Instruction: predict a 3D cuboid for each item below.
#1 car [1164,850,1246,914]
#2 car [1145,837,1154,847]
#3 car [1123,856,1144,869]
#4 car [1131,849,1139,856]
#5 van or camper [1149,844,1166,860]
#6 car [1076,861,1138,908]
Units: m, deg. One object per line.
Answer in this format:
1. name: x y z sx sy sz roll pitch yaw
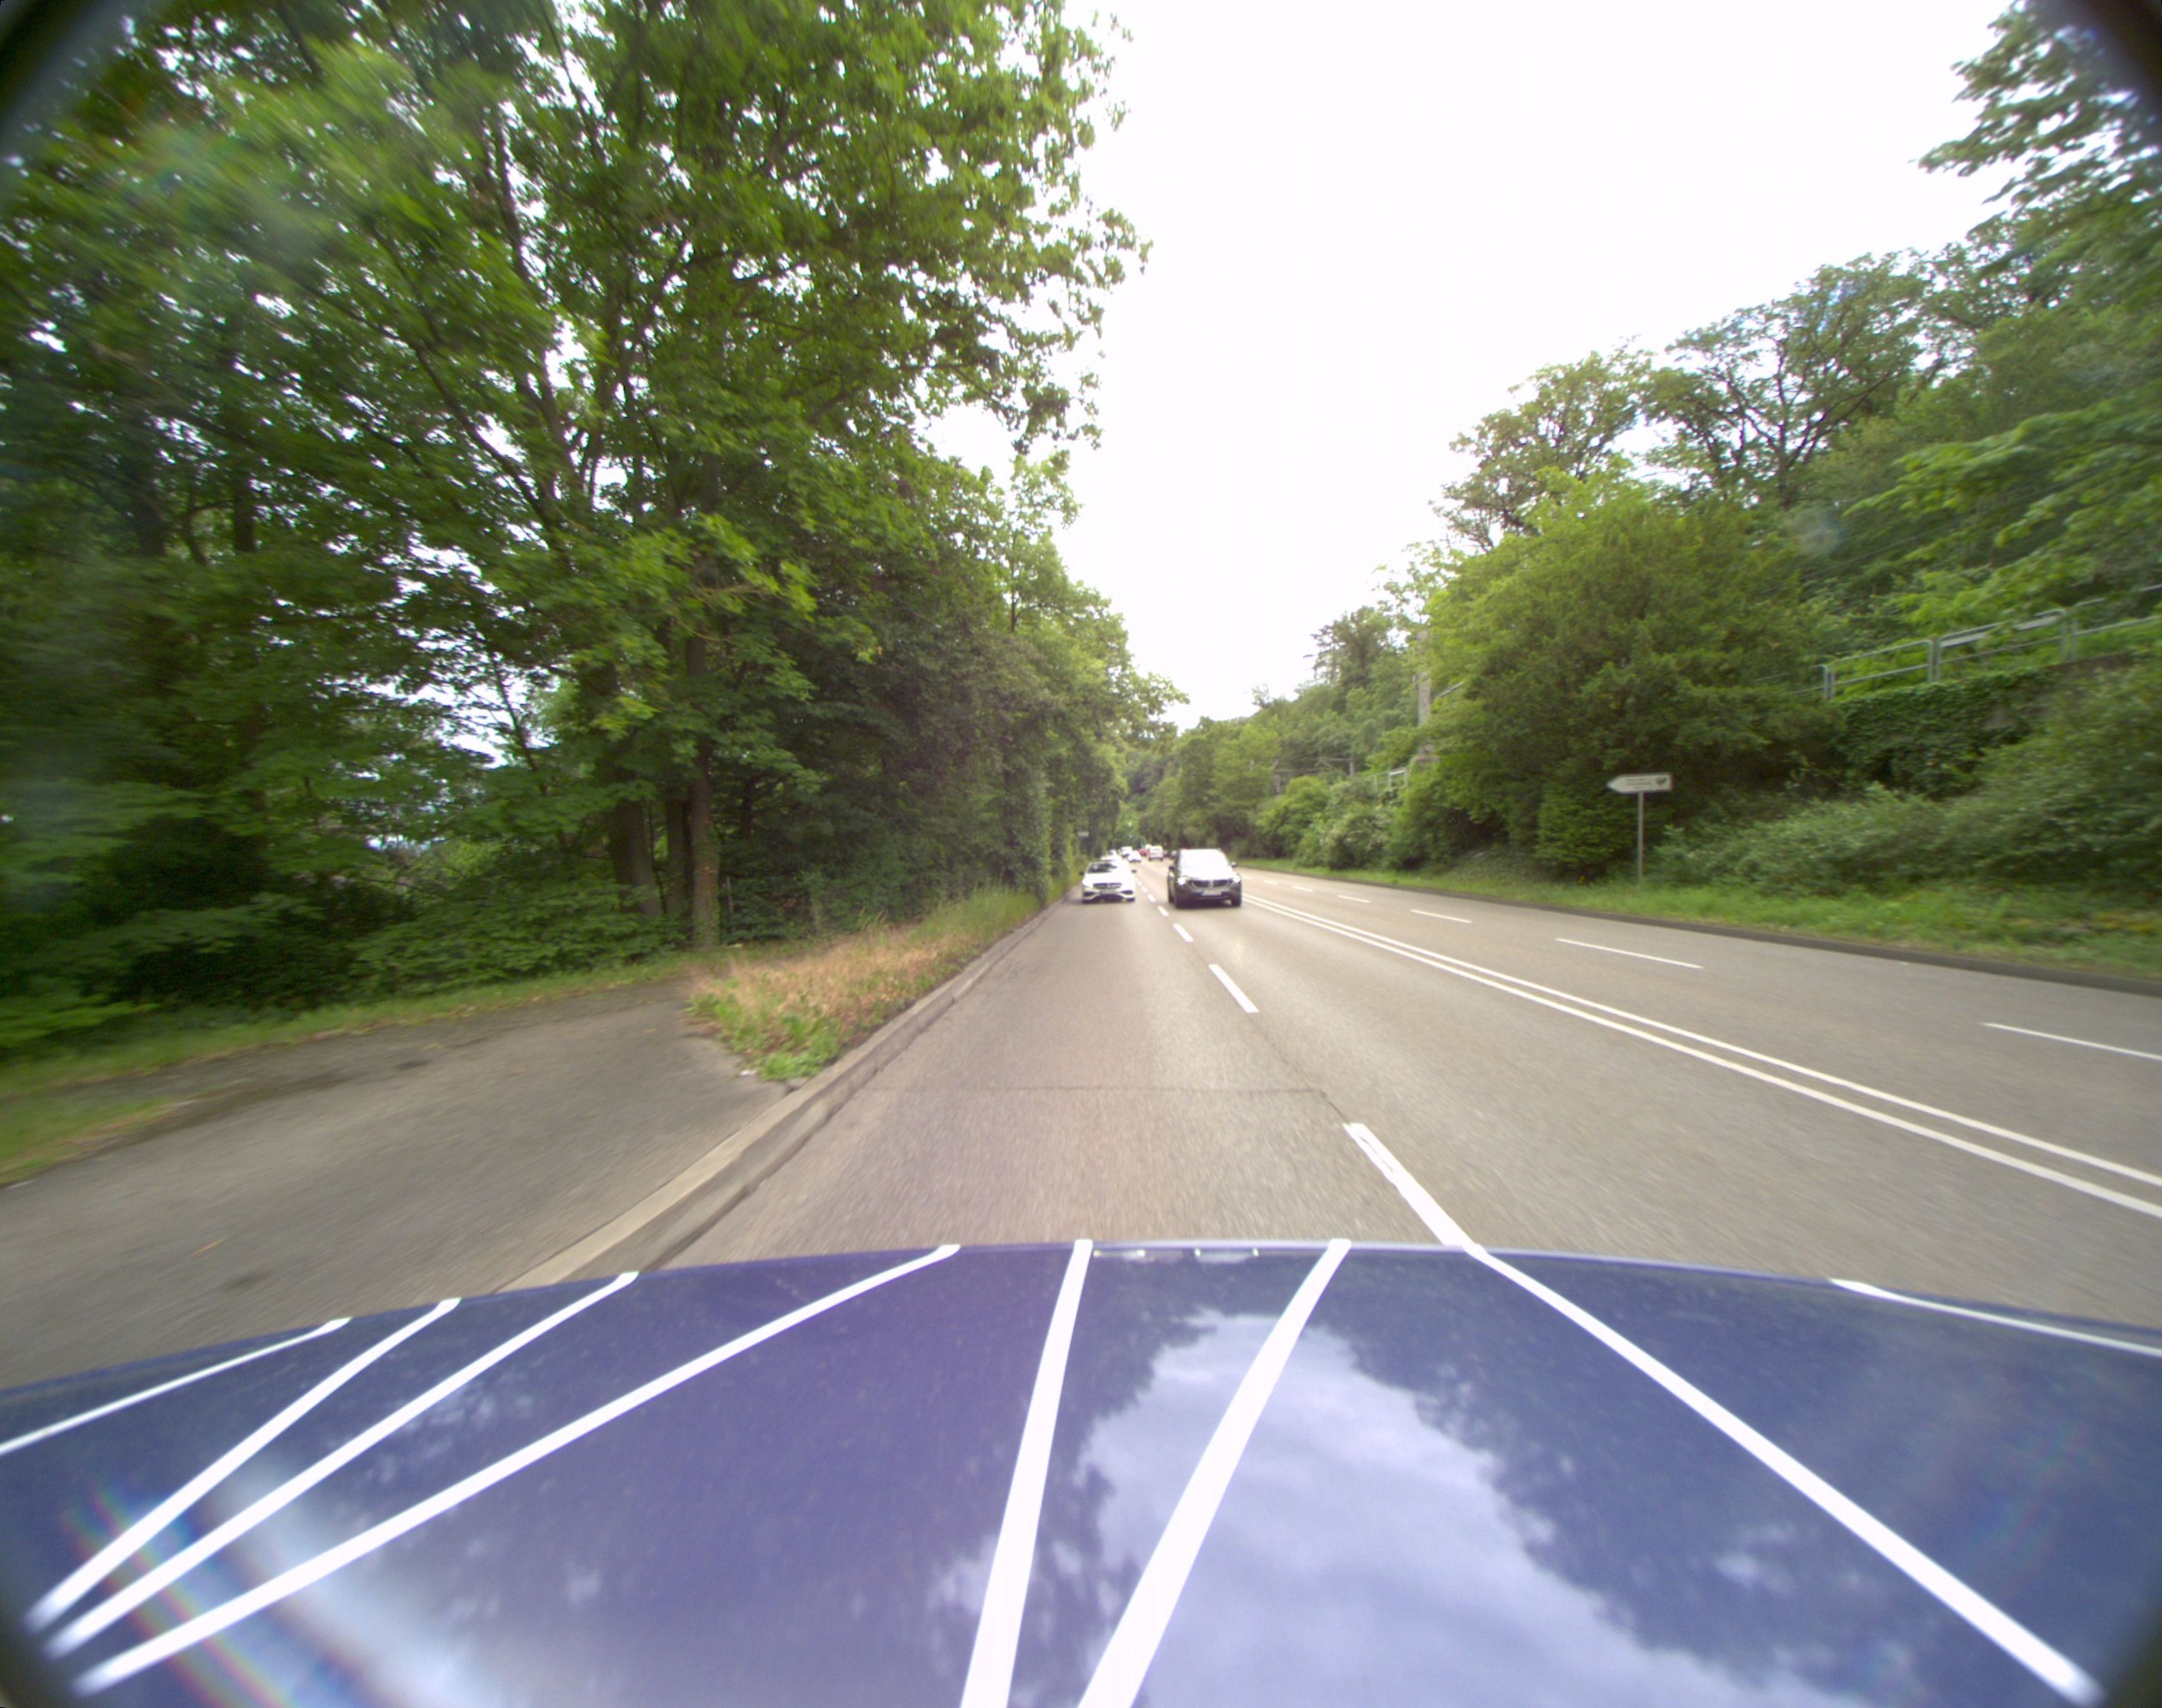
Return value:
1. car: 3.564 0.744 22.517 1.871 1.653 4.192 -1 1 2
2. car: 17.222 -3.053 191.022 1.891 2.541 4.915 -1 1 3
3. car: 6.804 1.075 98.443 1.698 1.573 3.997 -4 1 -9
4. car: 14.753 -0.435 208.104 1.843 1.457 4.466 -10 0 3
5. van or camper: 10.477 -0.300 104.570 1.998 2.002 5.369 2 1 3
6. car: 0.927 1.017 26.846 1.896 1.289 4.328 -4 1 2
